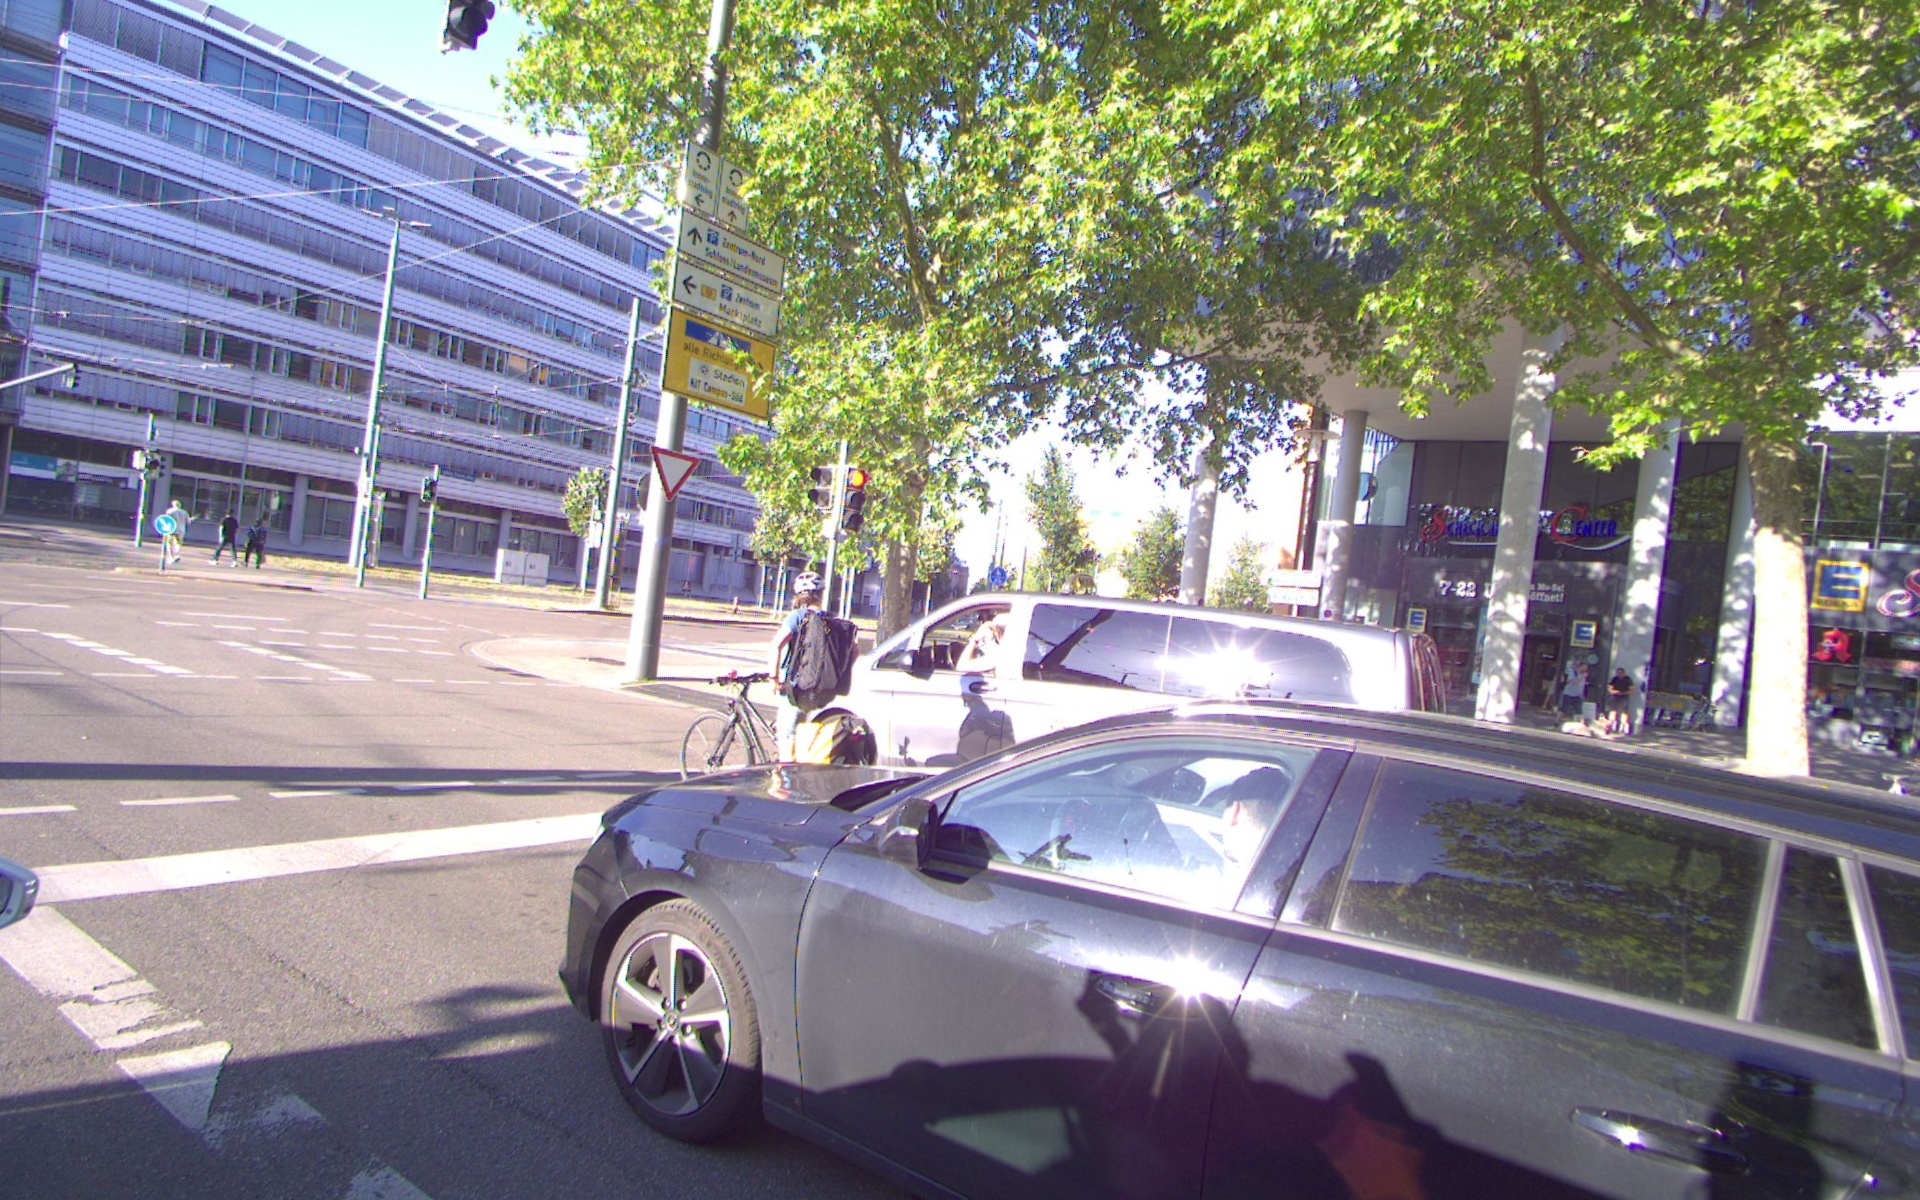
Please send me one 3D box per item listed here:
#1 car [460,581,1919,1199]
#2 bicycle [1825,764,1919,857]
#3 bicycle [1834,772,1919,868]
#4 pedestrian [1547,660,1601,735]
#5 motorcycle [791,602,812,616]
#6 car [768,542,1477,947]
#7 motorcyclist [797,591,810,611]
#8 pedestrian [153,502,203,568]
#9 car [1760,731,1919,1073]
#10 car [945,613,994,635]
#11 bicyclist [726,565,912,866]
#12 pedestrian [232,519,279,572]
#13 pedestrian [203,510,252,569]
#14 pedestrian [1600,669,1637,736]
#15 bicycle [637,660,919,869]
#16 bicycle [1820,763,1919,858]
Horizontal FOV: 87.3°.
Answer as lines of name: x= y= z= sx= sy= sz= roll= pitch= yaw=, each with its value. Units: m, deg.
car: x=0.755 y=0.945 z=2.763 sx=4.199 sy=1.431 sz=1.742 roll=7 pitch=-2 yaw=32
bicycle: x=11.509 y=2.604 z=12.352 sx=0.460 sy=0.938 sz=1.210 roll=6 pitch=0 yaw=-39
bicycle: x=10.553 y=2.475 z=11.093 sx=1.233 sy=0.898 sz=0.462 roll=7 pitch=1 yaw=32
pedestrian: x=15.953 y=2.531 z=26.161 sx=0.592 sy=1.805 sz=0.886 roll=7 pitch=1 yaw=-6
motorcycle: x=-11.299 y=0.631 z=71.881 sx=0.460 sy=0.819 sz=1.568 roll=7 pitch=0 yaw=36
car: x=1.111 y=0.834 z=7.960 sx=5.012 sy=2.004 sz=1.939 roll=7 pitch=0 yaw=31
motorcyclist: x=-11.199 y=0.064 z=71.927 sx=0.452 sy=1.291 sz=0.712 roll=7 pitch=1 yaw=36
pedestrian: x=-23.237 y=-1.932 z=29.906 sx=0.859 sy=1.811 sz=0.863 roll=7 pitch=1 yaw=39
car: x=6.541 y=1.731 z=4.592 sx=4.181 sy=1.503 sz=1.741 roll=7 pitch=0 yaw=31
car: x=0.798 y=2.003 z=82.603 sx=1.758 sy=1.415 sz=4.157 roll=7 pitch=0 yaw=37
bicyclist: x=-0.888 y=0.696 z=6.365 sx=0.766 sy=1.714 sz=0.632 roll=7 pitch=1 yaw=32
pedestrian: x=-23.065 y=-1.779 z=32.948 sx=0.883 sy=1.583 sz=0.947 roll=7 pitch=1 yaw=39
pedestrian: x=-23.574 y=-1.945 z=32.370 sx=1.020 sy=1.706 sz=0.912 roll=7 pitch=1 yaw=39
pedestrian: x=17.512 y=2.734 z=26.750 sx=0.598 sy=1.707 sz=0.511 roll=6 pitch=1 yaw=-41
bicycle: x=-1.232 y=1.012 z=6.622 sx=1.839 sy=0.993 sz=0.561 roll=7 pitch=1 yaw=32
bicycle: x=11.212 y=2.541 z=12.079 sx=0.437 sy=0.930 sz=1.210 roll=6 pitch=0 yaw=-39
